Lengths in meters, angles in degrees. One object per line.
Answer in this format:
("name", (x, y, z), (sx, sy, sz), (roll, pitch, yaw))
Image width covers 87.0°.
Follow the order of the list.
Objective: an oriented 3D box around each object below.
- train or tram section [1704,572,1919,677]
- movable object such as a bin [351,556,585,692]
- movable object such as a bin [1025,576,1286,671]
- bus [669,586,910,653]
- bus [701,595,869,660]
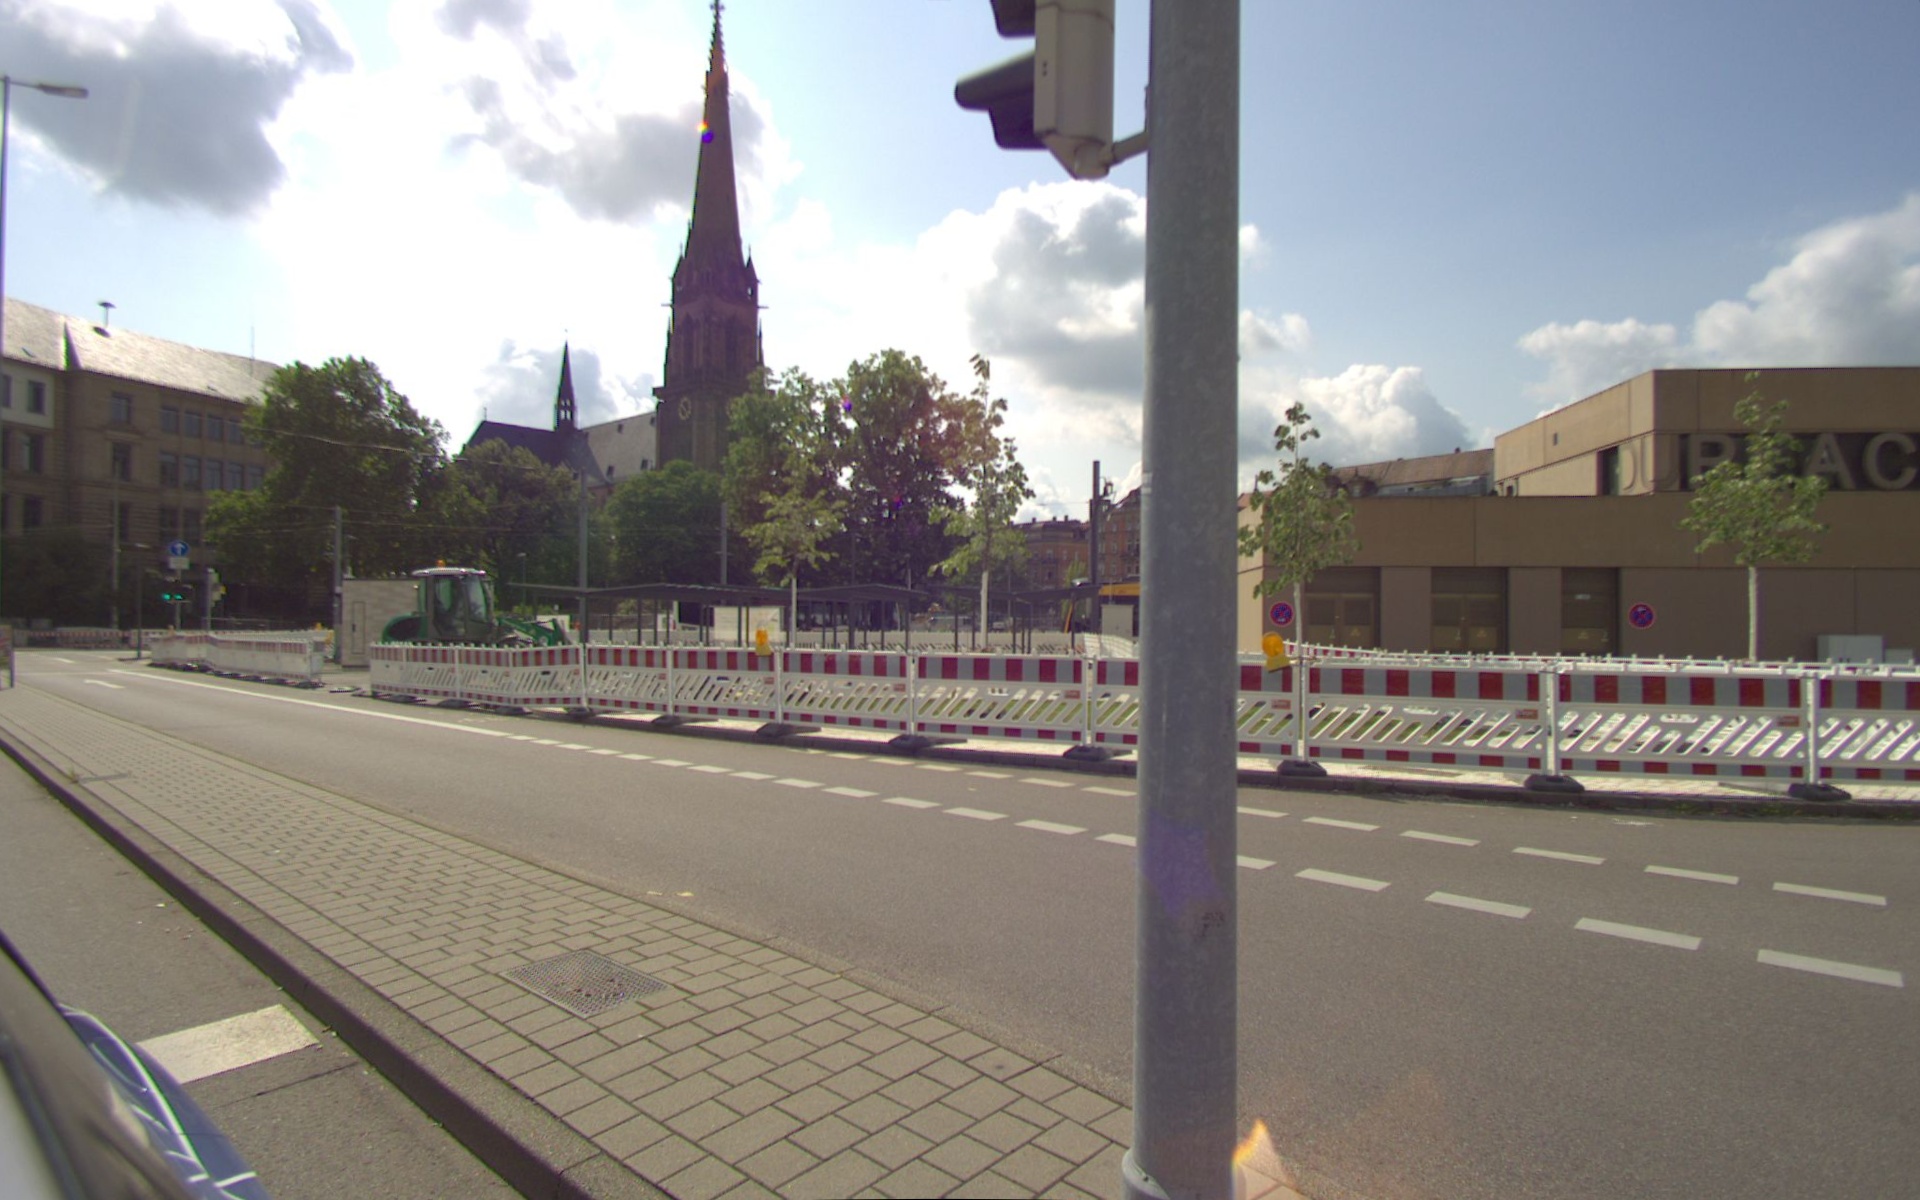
("train or tram section", (33.854, 0.879, 35.843), (12.265, 3.599, 2.662), (0, -1, 7))
("movable object such as a bin", (-11.230, 0.559, 23.352), (4.387, 2.972, 2.000), (0, -2, -1))
("movable object such as a bin", (7.405, 0.900, 39.295), (9.576, 3.450, 3.013), (0, -2, 9))
("bus", (-8.676, 1.020, 52.136), (11.931, 3.287, 2.987), (0, -2, 7))
("bus", (-8.427, 1.325, 49.132), (7.670, 3.081, 2.368), (0, -2, 7))
